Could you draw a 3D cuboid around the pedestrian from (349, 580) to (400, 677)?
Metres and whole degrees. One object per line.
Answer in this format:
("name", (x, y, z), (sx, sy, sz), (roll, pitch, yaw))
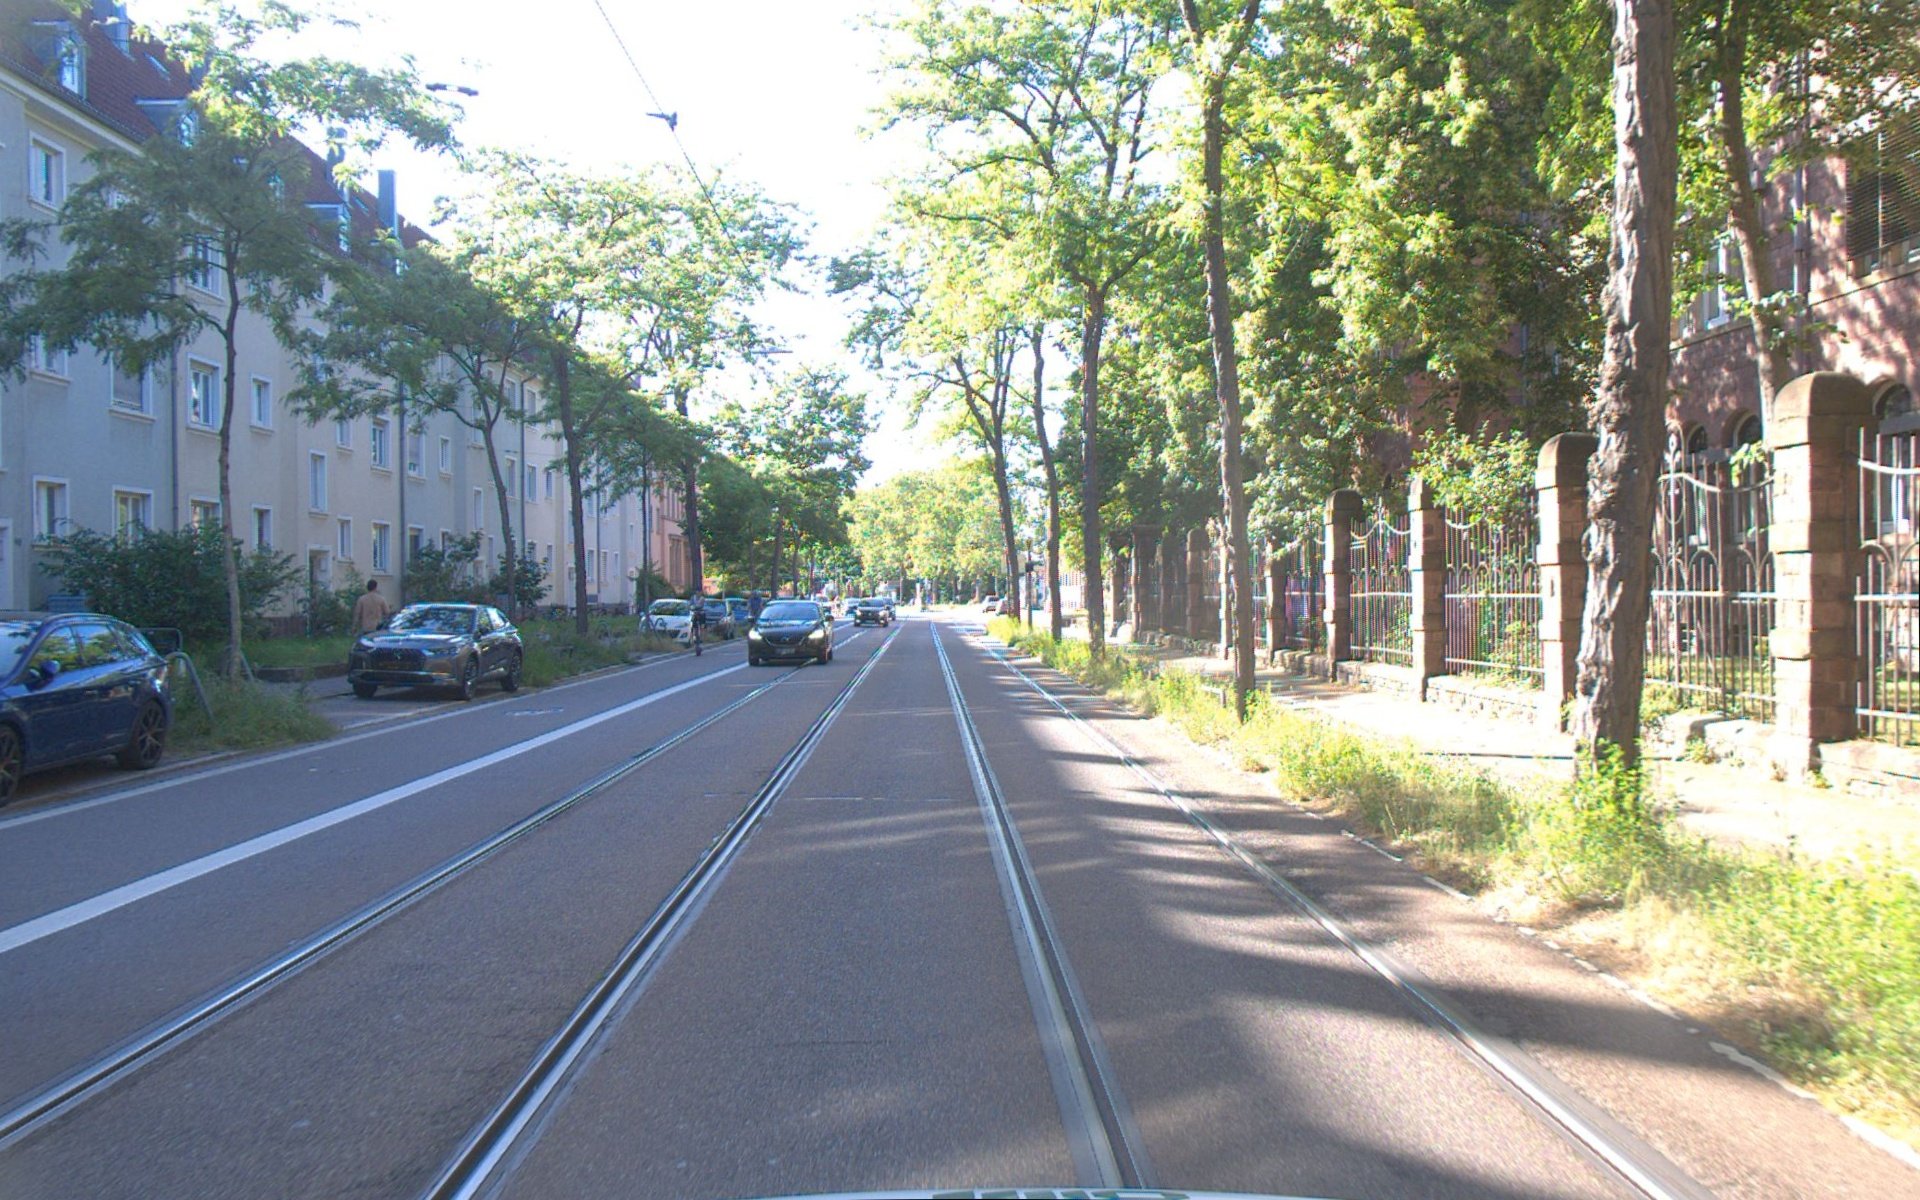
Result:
("pedestrian", (-11.316, 0.537, 31.980), (0.677, 1.833, 0.813), (-1, 0, -2))

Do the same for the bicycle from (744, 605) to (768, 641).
("bicycle", (-7.340, 0.819, 59.620), (0.614, 1.198, 1.912), (-3, 0, -1))

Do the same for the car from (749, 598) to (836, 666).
("car", (-3.806, 0.681, 38.186), (1.722, 1.464, 4.521), (0, 0, -3))

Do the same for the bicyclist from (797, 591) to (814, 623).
("bicyclist", (-7.972, 0.348, 85.371), (0.695, 1.635, 0.865), (-3, 0, -2))

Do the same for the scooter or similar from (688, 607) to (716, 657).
("scooter or similar", (-7.122, 0.886, 45.772), (0.510, 1.320, 1.377), (-4, 0, -1))

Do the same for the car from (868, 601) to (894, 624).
("car", (-5.198, 0.823, 108.932), (1.665, 1.497, 4.069), (0, 0, -3))

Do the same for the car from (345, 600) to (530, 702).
("car", (-8.507, 0.783, 27.293), (1.780, 1.511, 4.205), (1, 0, -1))

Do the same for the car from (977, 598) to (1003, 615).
("car", (2.832, 0.606, 157.257), (1.905, 1.638, 3.994), (0, 0, -7))

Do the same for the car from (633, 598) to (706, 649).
("car", (-9.298, 0.731, 53.208), (1.668, 1.511, 4.078), (2, 0, -1))

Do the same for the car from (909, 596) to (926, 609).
("car", (-5.482, 0.301, 213.939), (1.905, 1.638, 3.994), (0, 0, -7))

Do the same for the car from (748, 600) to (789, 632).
("car", (-9.753, 0.790, 84.366), (1.710, 1.516, 4.321), (2, 0, -2))

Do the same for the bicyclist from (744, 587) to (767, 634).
("bicyclist", (-7.362, 0.377, 59.578), (0.613, 1.667, 0.940), (-3, 0, -1))

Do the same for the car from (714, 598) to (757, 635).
("car", (-9.711, 0.703, 71.723), (1.529, 1.482, 3.928), (2, 0, -3))

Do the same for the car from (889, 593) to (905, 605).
("car", (-8.766, -0.099, 229.414), (1.905, 1.638, 3.995), (0, 0, -6))

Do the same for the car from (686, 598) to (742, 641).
("car", (-9.230, 0.720, 62.313), (1.653, 1.511, 3.758), (2, 0, -2))

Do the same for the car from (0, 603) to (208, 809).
("car", (-8.312, 0.824, 14.305), (1.722, 1.537, 4.436), (1, 0, -3))

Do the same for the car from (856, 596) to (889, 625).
("car", (-4.506, 0.551, 85.889), (1.665, 1.464, 4.069), (0, 0, -3))

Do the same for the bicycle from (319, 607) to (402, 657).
("bicycle", (-15.187, 0.813, 41.896), (1.869, 1.198, 0.521), (1, 0, -4))

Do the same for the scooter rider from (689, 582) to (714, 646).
("scooter rider", (-7.157, 0.387, 45.780), (0.486, 1.729, 0.786), (-4, 0, -1))

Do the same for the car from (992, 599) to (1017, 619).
("car", (3.837, 0.805, 142.969), (1.802, 1.684, 3.577), (0, 0, -3))
